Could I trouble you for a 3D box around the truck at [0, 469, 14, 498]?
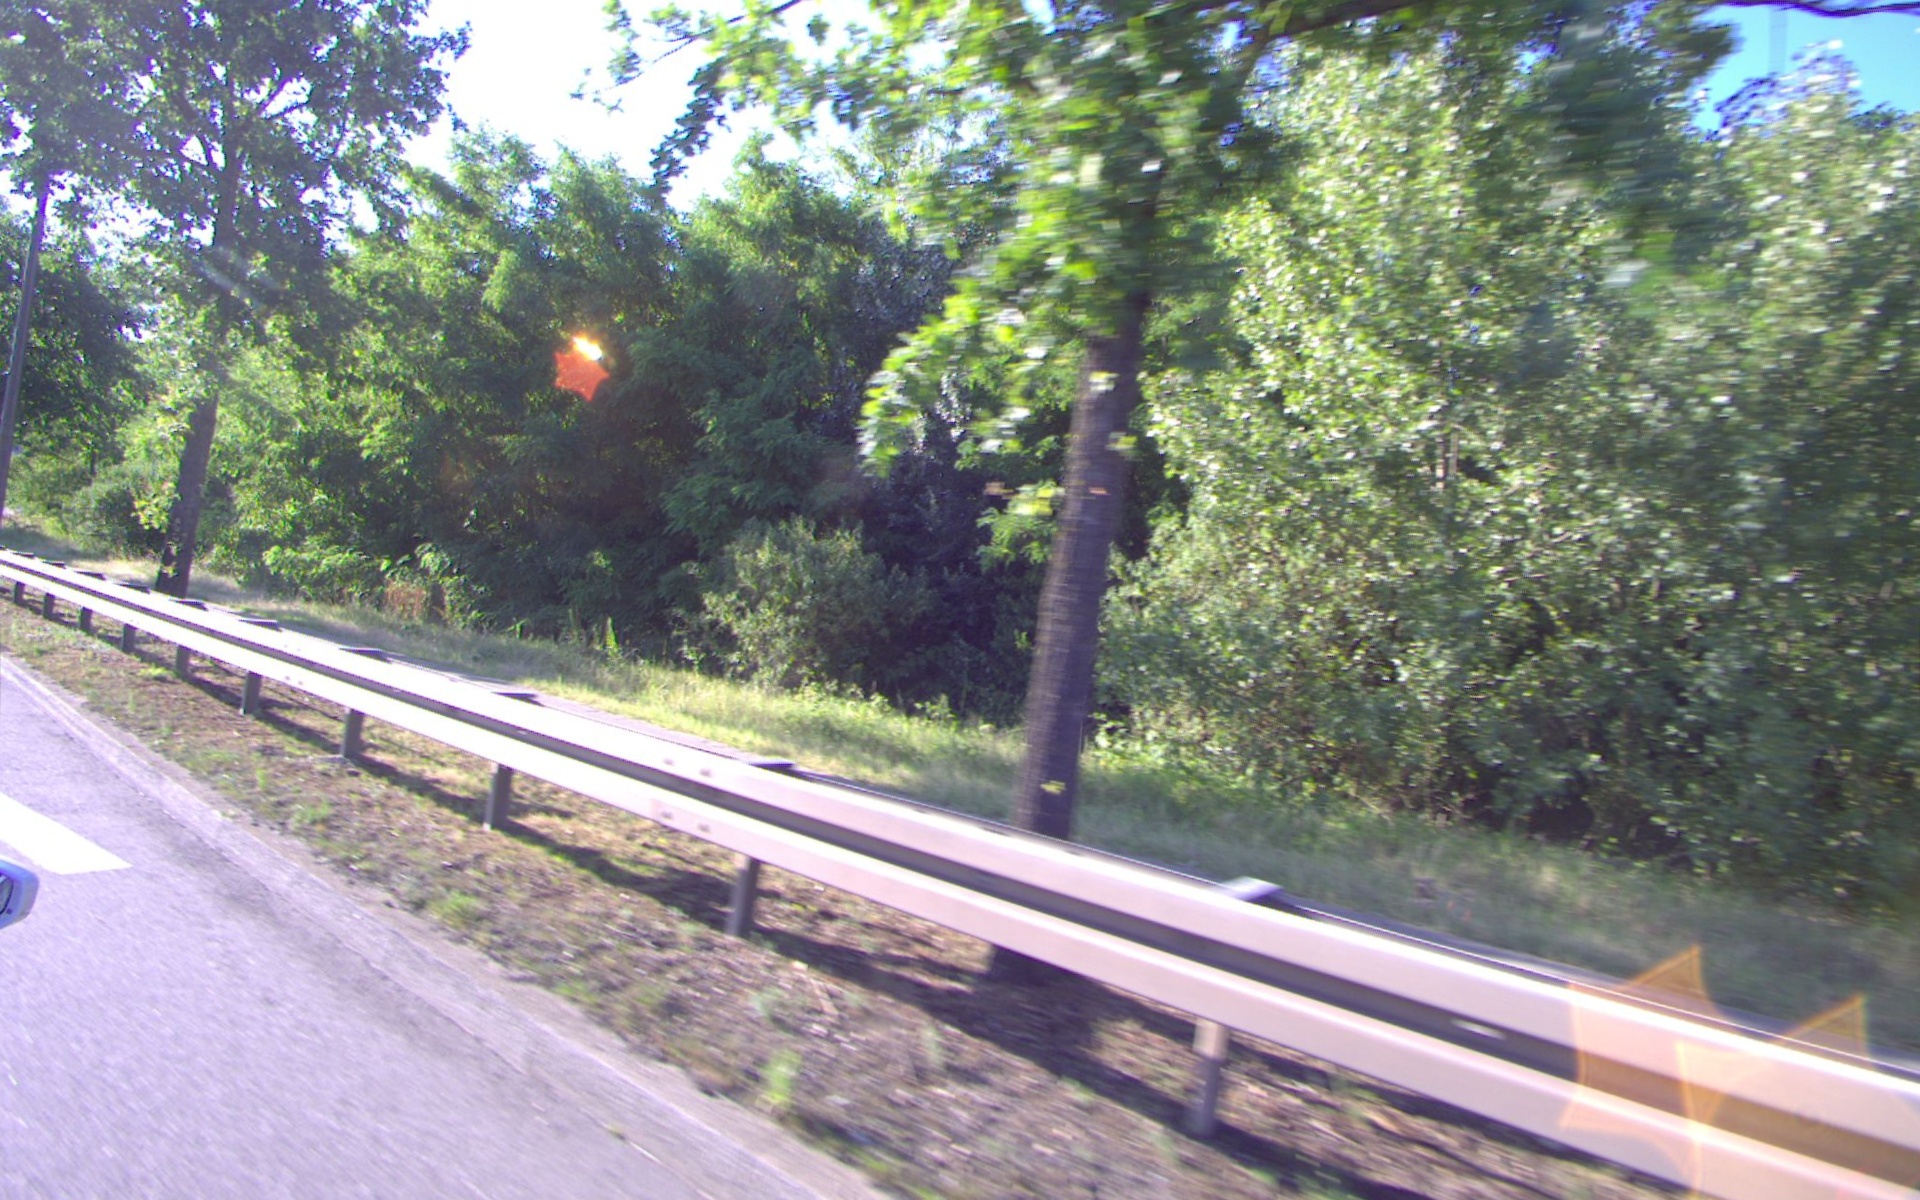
[{"bbox_3d":[-93.082,-11.373,96.373,2.095,2.548,4.372,9,-2,-27],"label":"truck"}]
